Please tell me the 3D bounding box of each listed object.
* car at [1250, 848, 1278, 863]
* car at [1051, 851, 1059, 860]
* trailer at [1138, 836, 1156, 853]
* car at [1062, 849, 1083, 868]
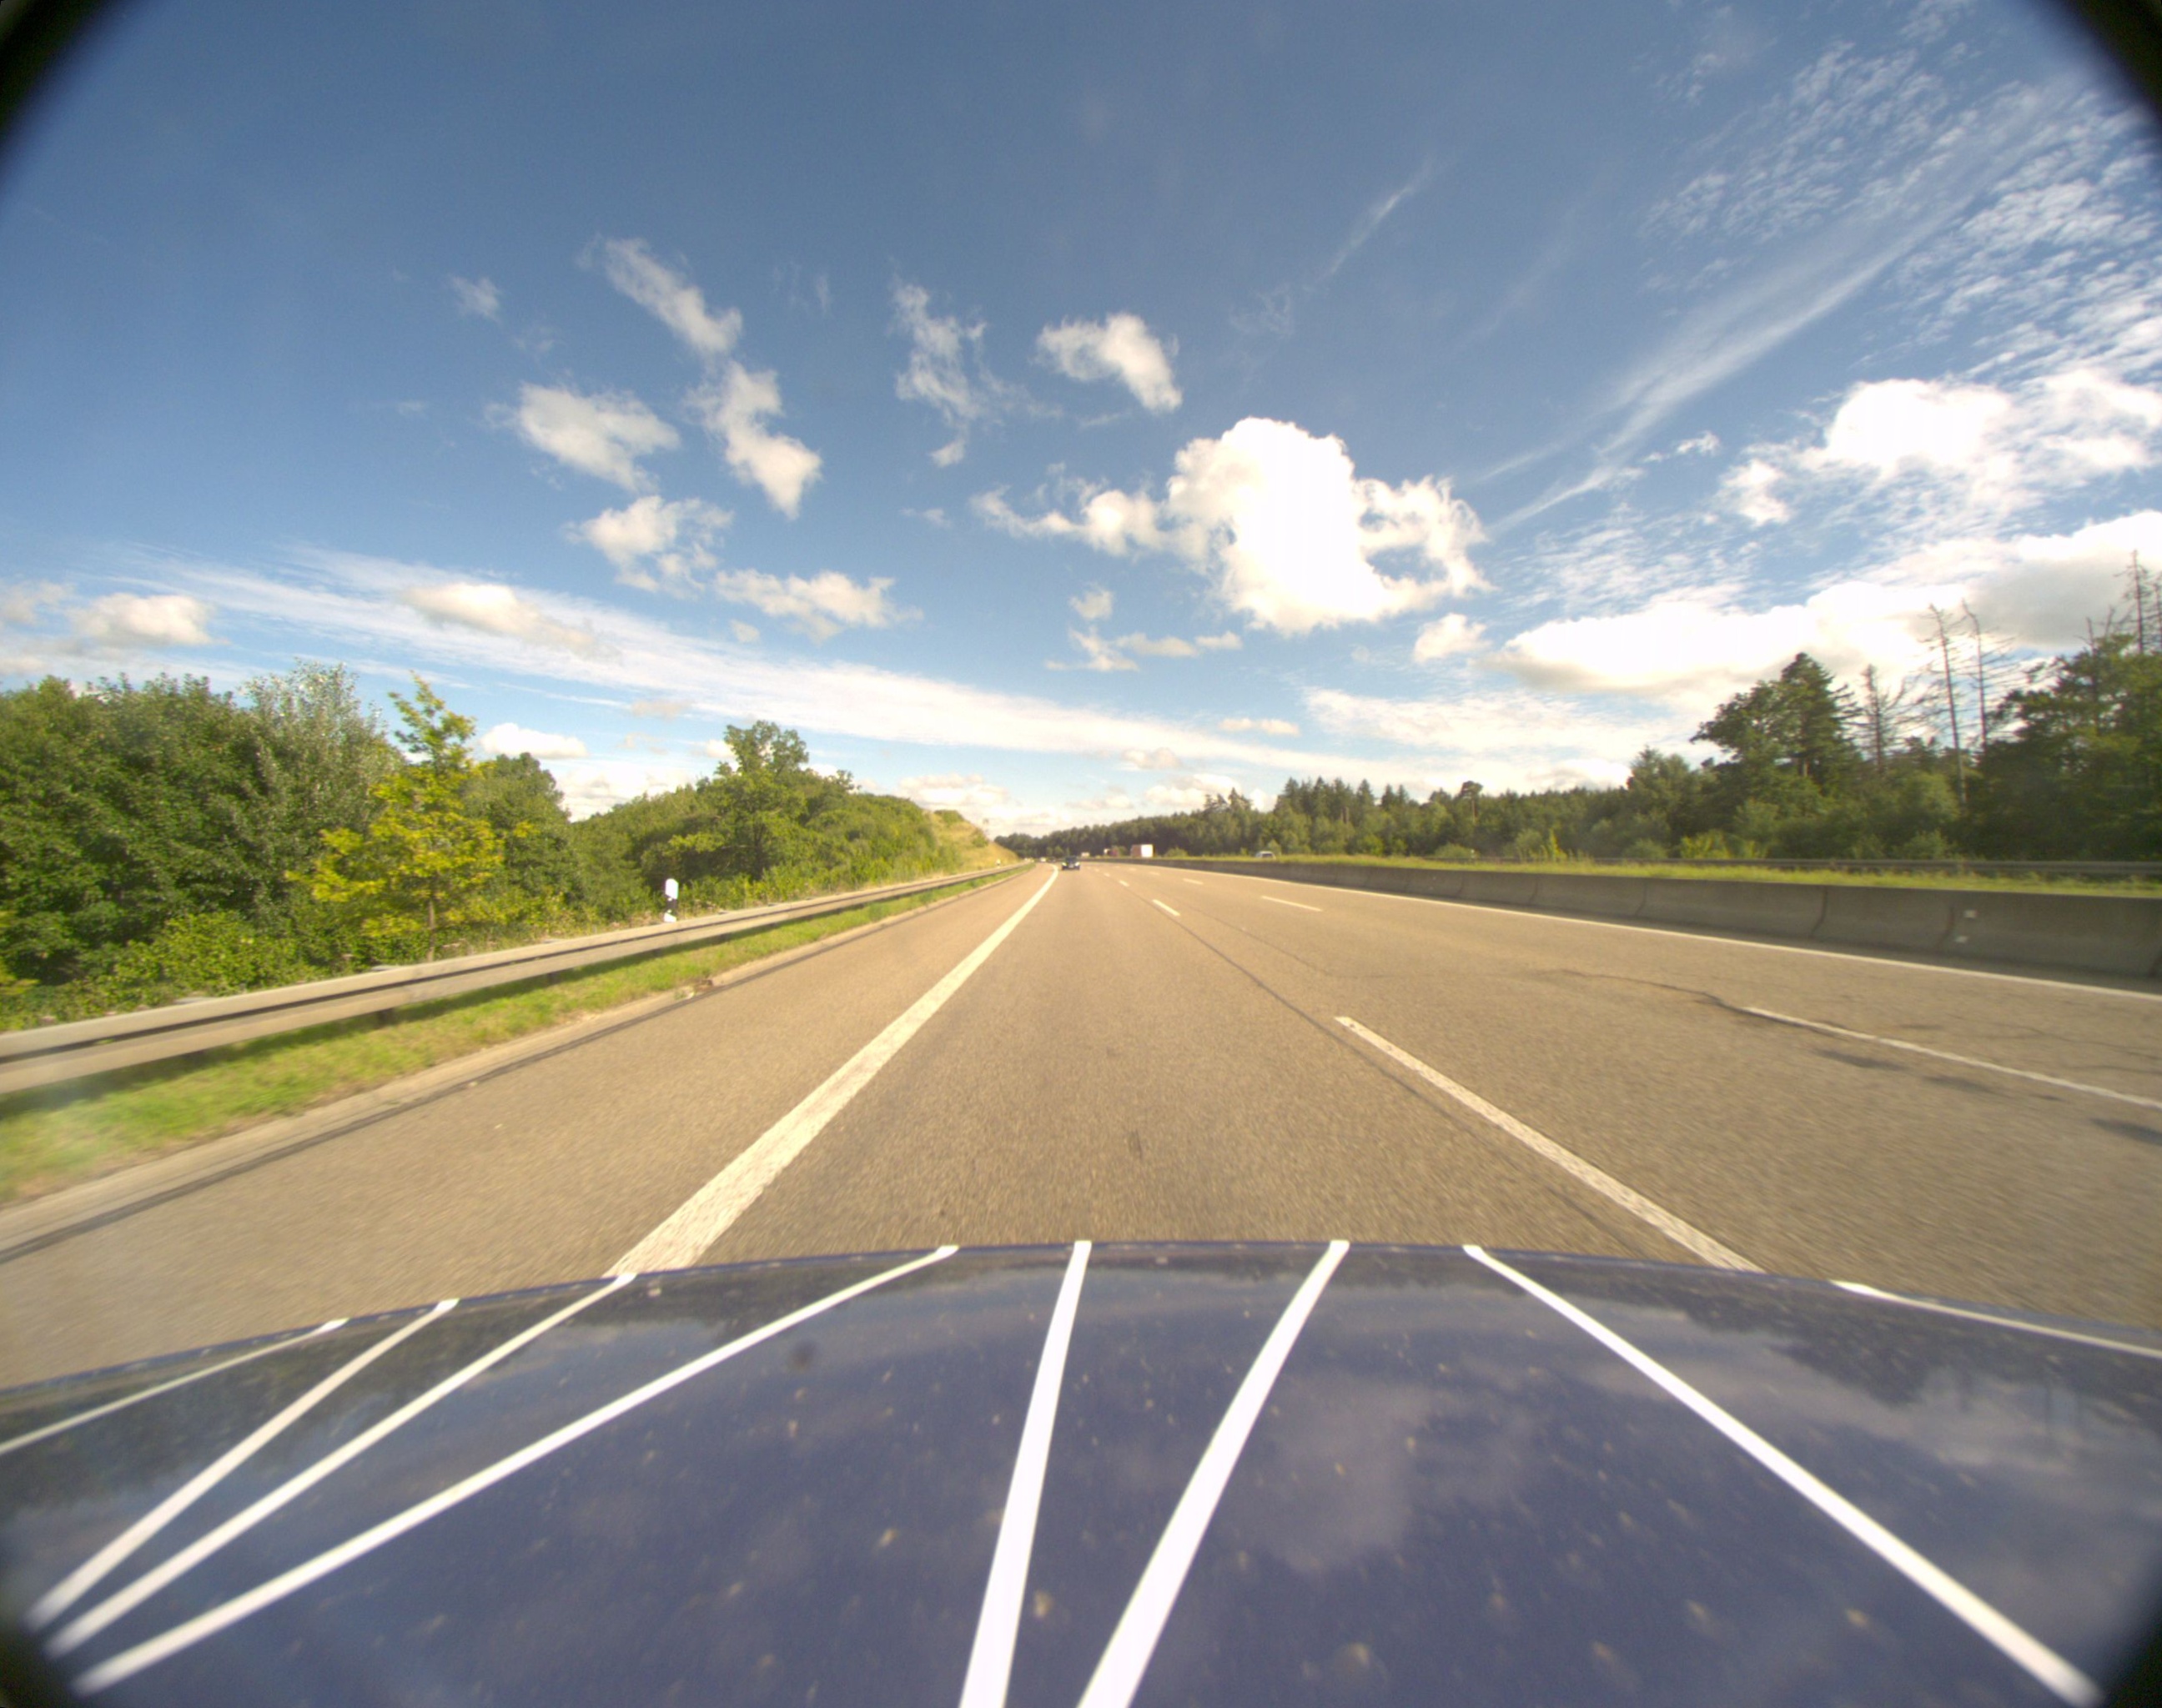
[{"bbox_3d":[18.598,0.144,77.289,1.846,1.448,3.999,-2,0,0],"label":"car"},{"bbox_3d":[-6.488,0.311,189.141,1.999,2.002,3.998,-2,1,-3],"label":"car"},{"bbox_3d":[16.522,-2.256,191.099,3.029,4.085,12.788,-2,0,-2],"label":"trailer"},{"bbox_3d":[-0.807,0.470,78.409,1.998,1.827,3.999,-1,1,1],"label":"car"}]
